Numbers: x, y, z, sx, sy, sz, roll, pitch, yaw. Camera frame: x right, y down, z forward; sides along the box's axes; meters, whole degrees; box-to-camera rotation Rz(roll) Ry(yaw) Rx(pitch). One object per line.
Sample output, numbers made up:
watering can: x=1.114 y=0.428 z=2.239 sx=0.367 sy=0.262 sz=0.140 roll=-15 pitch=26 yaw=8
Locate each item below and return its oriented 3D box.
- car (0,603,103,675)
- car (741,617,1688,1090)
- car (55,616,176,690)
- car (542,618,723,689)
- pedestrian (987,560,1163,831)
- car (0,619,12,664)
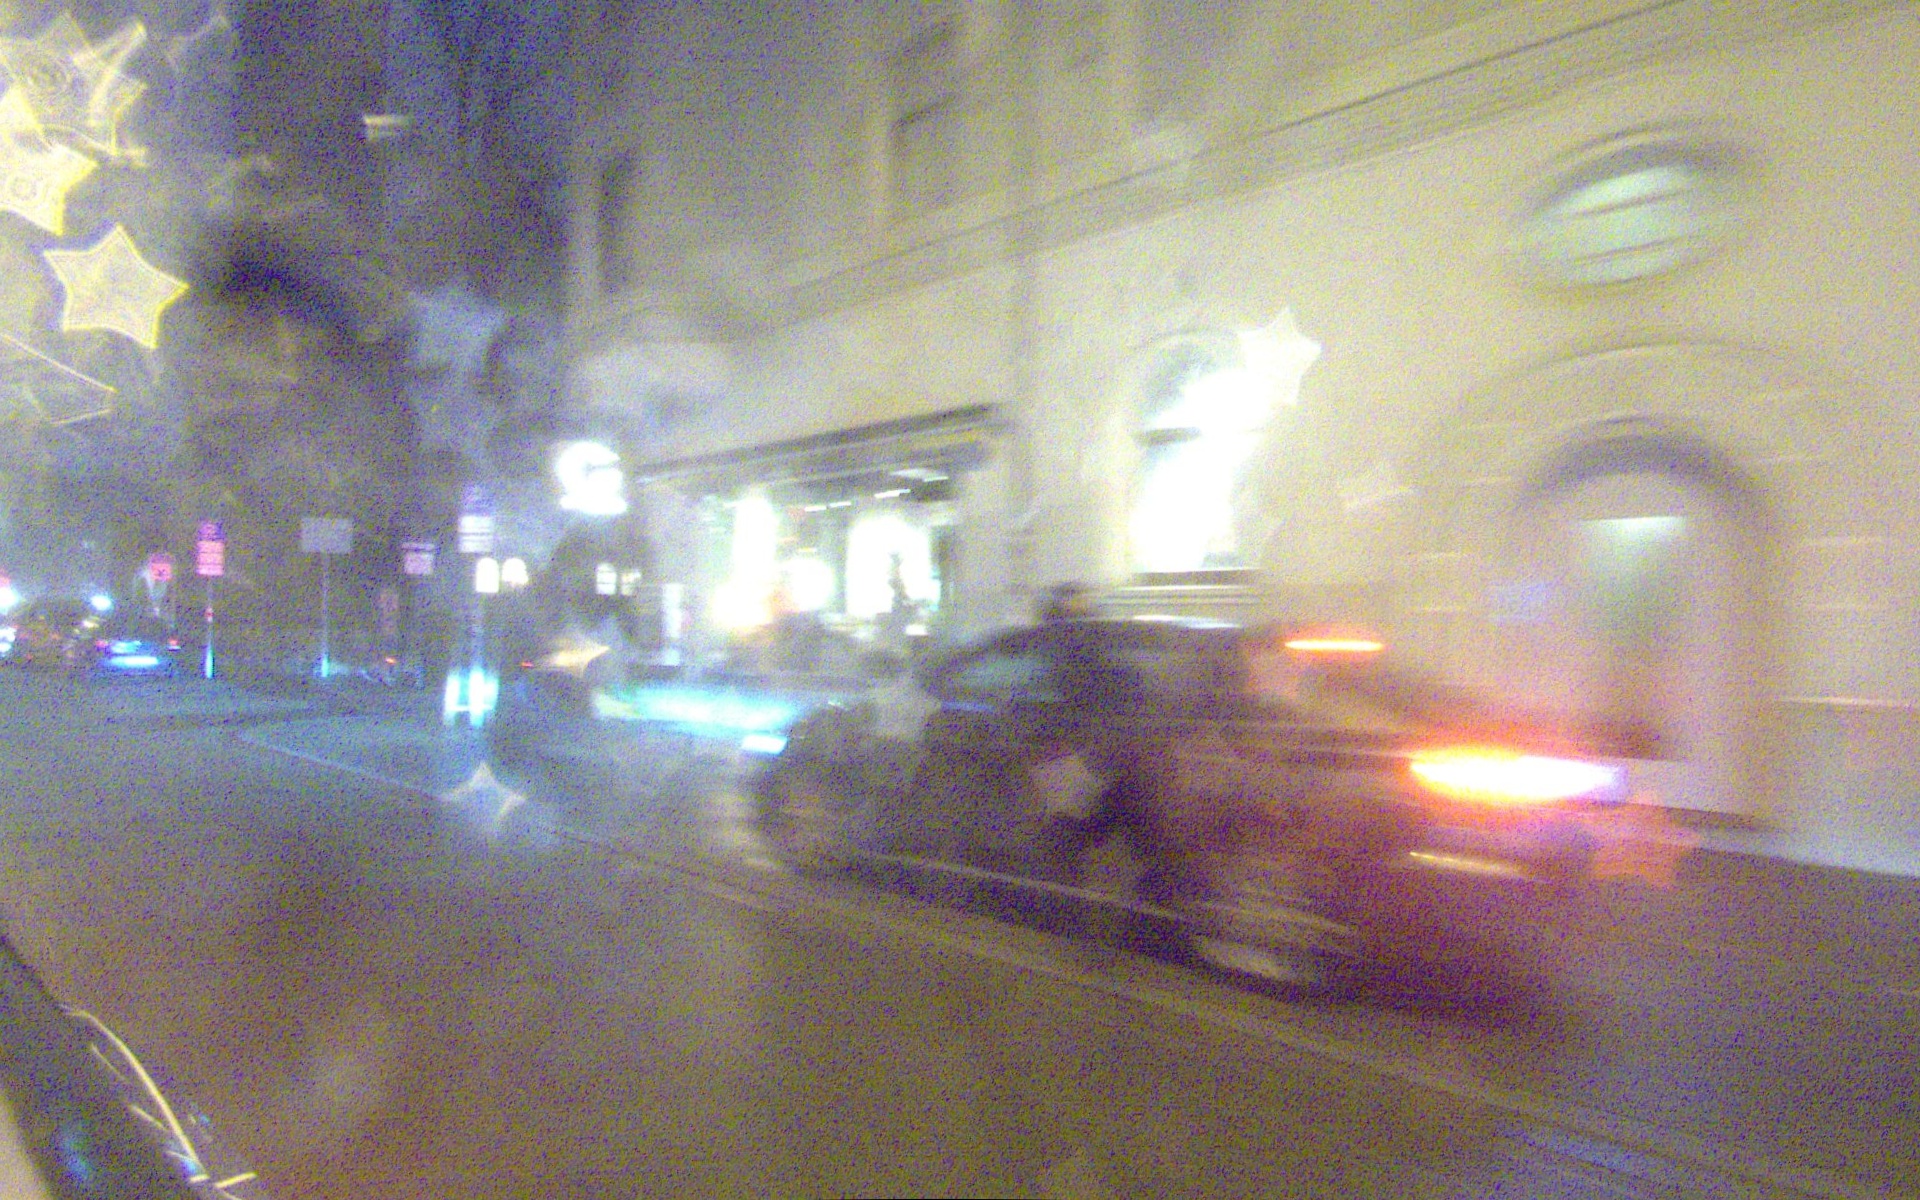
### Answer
car: x=-25.632 y=1.063 z=28.289 sx=4.825 sy=1.860 sz=1.847 roll=-1 pitch=-3 yaw=42
car: x=0.892 y=0.781 z=4.957 sx=4.219 sy=1.369 sz=1.637 roll=-1 pitch=-2 yaw=41
car: x=-18.523 y=1.101 z=22.160 sx=3.562 sy=1.453 sz=1.530 roll=-1 pitch=0 yaw=42
car: x=-7.941 y=1.280 z=24.786 sx=1.715 sy=1.583 sz=3.893 roll=-1 pitch=-3 yaw=40
pedestrian: x=0.851 y=0.645 z=7.401 sx=0.787 sy=1.796 sz=1.120 roll=-1 pitch=-2 yaw=41
car: x=-37.325 y=1.575 z=38.486 sx=1.791 sy=1.683 sz=4.414 roll=0 pitch=-2 yaw=-44
